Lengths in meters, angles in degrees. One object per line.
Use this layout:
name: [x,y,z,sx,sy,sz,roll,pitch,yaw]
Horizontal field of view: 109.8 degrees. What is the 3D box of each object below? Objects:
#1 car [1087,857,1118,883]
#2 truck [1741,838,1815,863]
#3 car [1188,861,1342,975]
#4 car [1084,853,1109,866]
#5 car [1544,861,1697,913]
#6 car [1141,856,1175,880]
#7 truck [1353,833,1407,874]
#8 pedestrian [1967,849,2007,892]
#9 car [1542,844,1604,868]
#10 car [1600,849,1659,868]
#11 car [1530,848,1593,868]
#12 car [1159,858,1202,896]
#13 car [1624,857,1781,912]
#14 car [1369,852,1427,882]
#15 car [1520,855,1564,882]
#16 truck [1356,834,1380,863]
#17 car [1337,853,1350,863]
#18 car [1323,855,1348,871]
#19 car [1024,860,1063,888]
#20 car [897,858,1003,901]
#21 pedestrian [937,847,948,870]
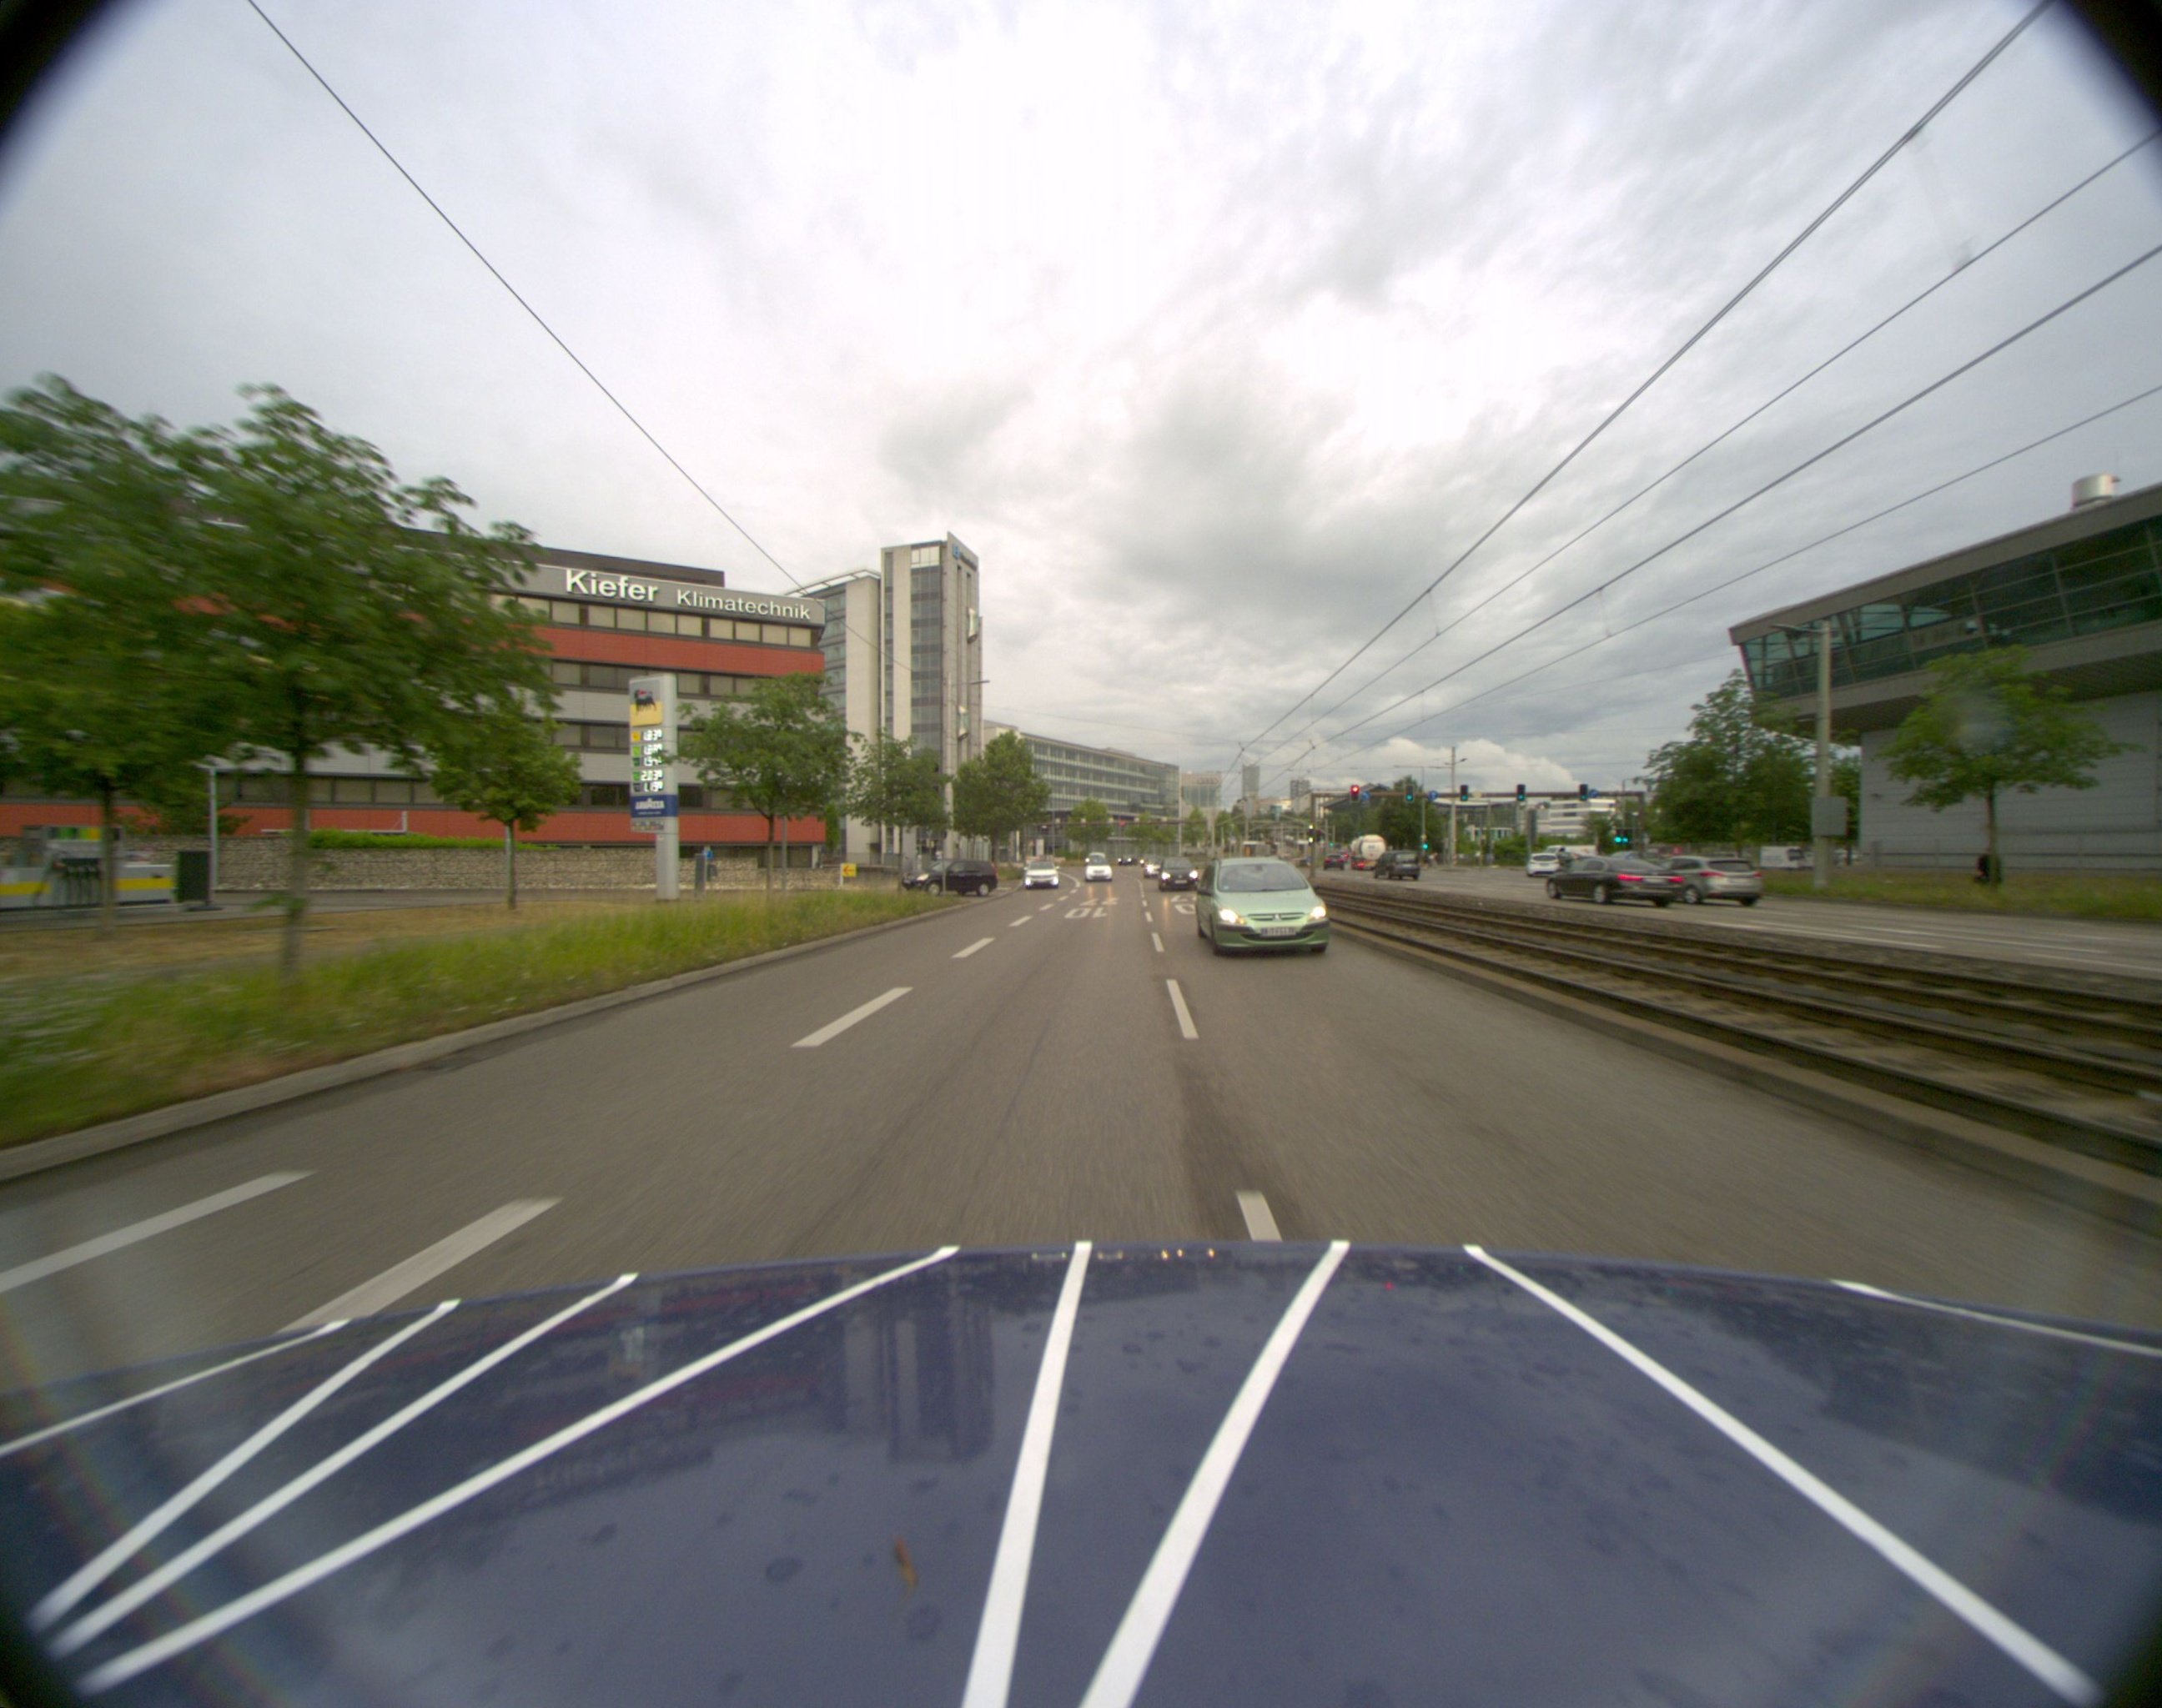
car: [1.445,1.039,49.949,1.818,1.584,3.838,-3,-1,4]
truck: [57.194,-0.286,62.405,2.002,2.002,3.992,0,0,-23]
car: [2.902,0.929,12.866,1.762,1.489,4.138,-3,0,3]
car: [1.888,0.666,92.994,1.887,1.584,3.987,0,0,20]
car: [16.991,0.964,24.298,1.951,1.475,4.998,0,0,8]
car: [5.374,0.935,53.369,1.762,1.535,3.713,-3,0,-3]
truck: [29.535,-0.016,75.593,4.084,3.734,10.868,0,0,17]
pedestrian: [33.499,0.601,28.112,0.684,1.554,0.627,-3,1,3]
car: [48.647,0.206,75.181,5.063,2.318,1.999,0,0,-7]
car: [51.197,0.412,70.995,4.252,1.705,1.912,0,0,-4]
car: [44.412,0.380,70.254,4.661,1.824,1.999,0,0,-3]
car: [4.562,1.009,35.181,1.761,1.535,3.715,-3,0,5]
car: [20.731,0.953,25.629,1.944,1.661,4.511,1,0,6]
car: [19.908,0.786,47.883,1.998,1.721,4.680,1,0,5]
car: [32.188,0.961,53.164,1.812,1.814,3.876,0,0,18]
truck: [46.243,-0.857,122.125,3.261,4.502,7.104,0,0,23]
car: [43.088,0.652,124.574,1.813,1.564,4.007,0,0,22]
car: [25.439,0.848,76.024,1.819,1.564,4.003,0,0,10]
car: [-2.078,1.081,43.121,1.878,1.485,3.837,-1,0,2]
car: [-5.780,1.114,33.895,4.368,1.637,1.789,-3,0,-44]
pedestrian: [-11.548,0.388,63.494,0.683,1.889,0.677,-3,1,-22]
